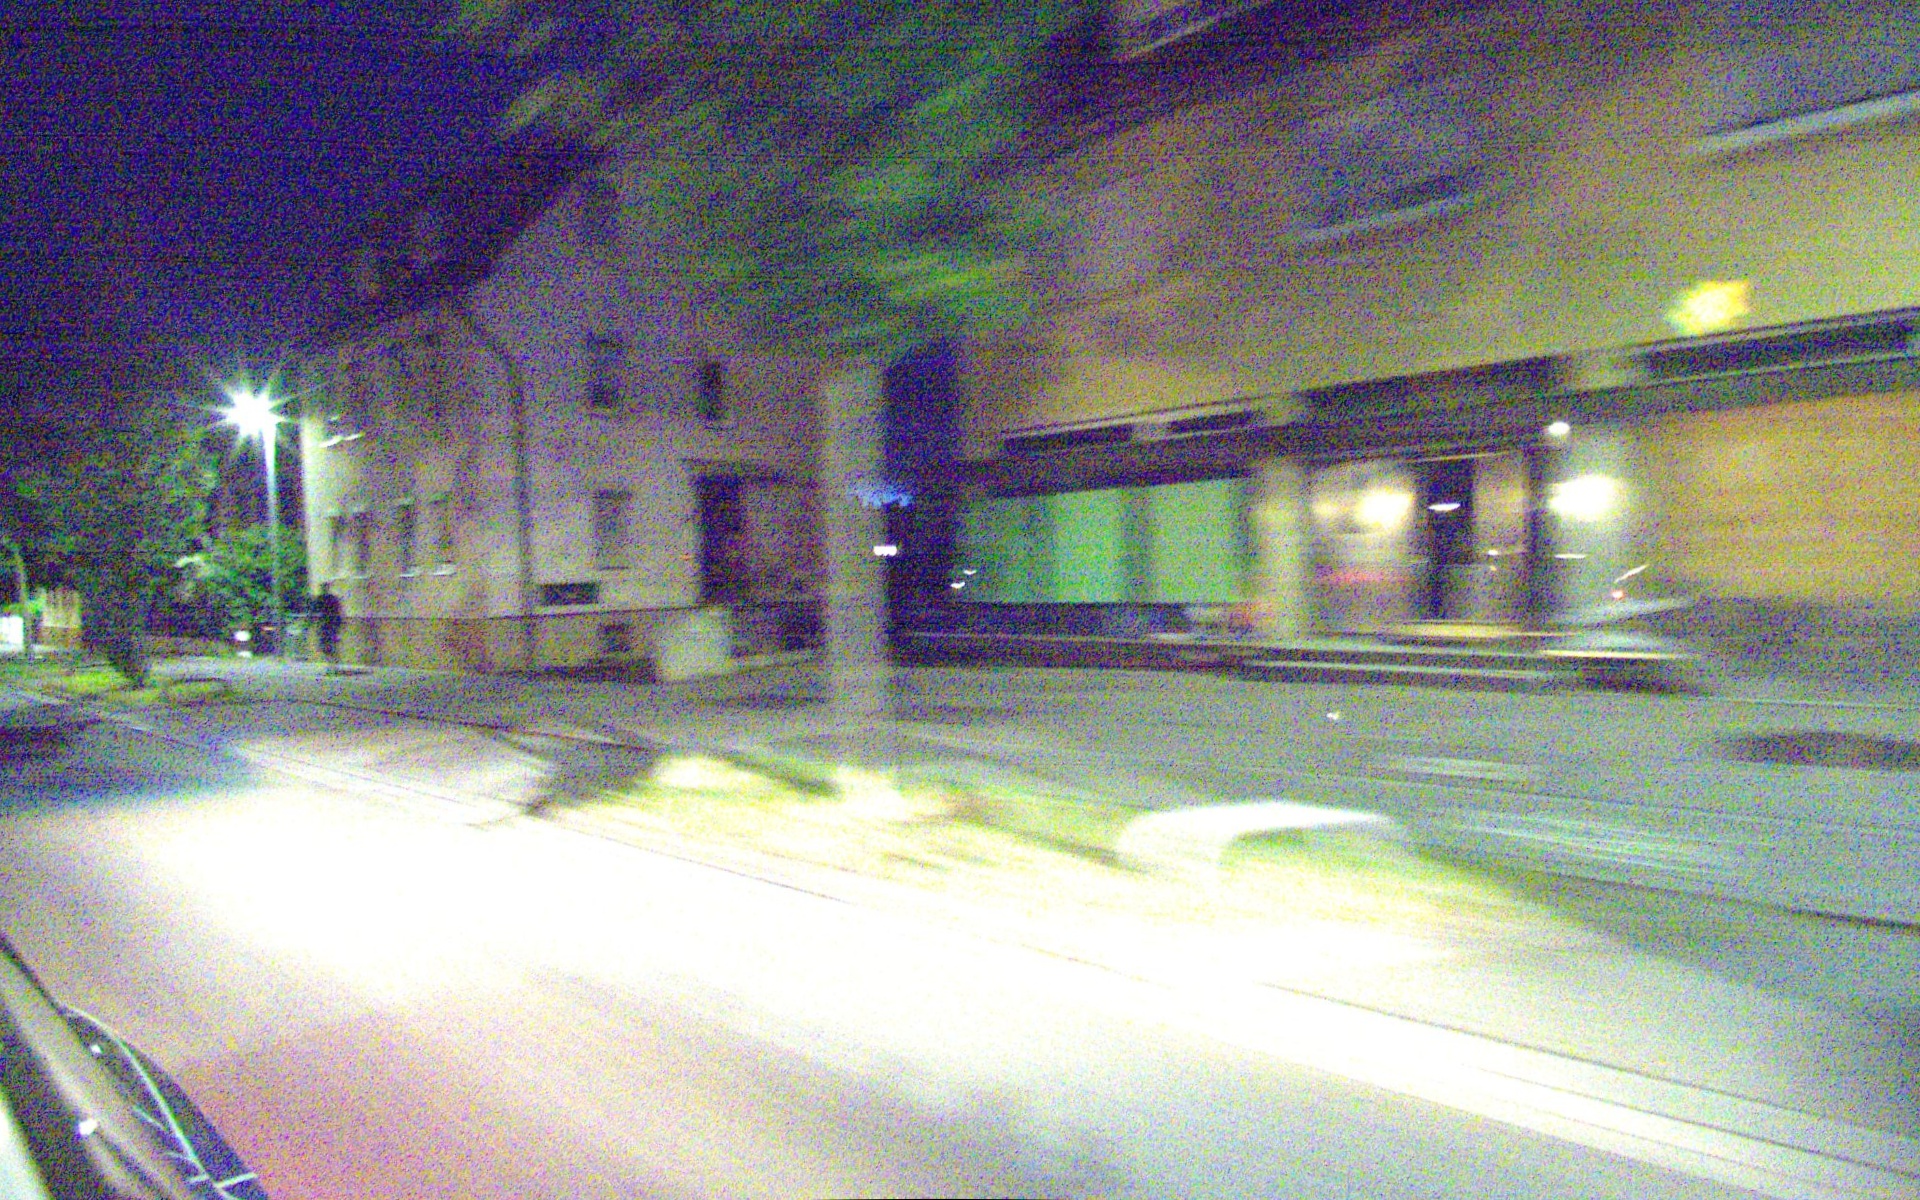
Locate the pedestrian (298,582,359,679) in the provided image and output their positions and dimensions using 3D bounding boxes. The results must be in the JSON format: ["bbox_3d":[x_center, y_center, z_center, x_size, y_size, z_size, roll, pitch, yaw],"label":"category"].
[{"bbox_3d":[-13.000,0.614,20.838,0.829,1.917,0.737,-2,3,40],"label":"pedestrian"}]
